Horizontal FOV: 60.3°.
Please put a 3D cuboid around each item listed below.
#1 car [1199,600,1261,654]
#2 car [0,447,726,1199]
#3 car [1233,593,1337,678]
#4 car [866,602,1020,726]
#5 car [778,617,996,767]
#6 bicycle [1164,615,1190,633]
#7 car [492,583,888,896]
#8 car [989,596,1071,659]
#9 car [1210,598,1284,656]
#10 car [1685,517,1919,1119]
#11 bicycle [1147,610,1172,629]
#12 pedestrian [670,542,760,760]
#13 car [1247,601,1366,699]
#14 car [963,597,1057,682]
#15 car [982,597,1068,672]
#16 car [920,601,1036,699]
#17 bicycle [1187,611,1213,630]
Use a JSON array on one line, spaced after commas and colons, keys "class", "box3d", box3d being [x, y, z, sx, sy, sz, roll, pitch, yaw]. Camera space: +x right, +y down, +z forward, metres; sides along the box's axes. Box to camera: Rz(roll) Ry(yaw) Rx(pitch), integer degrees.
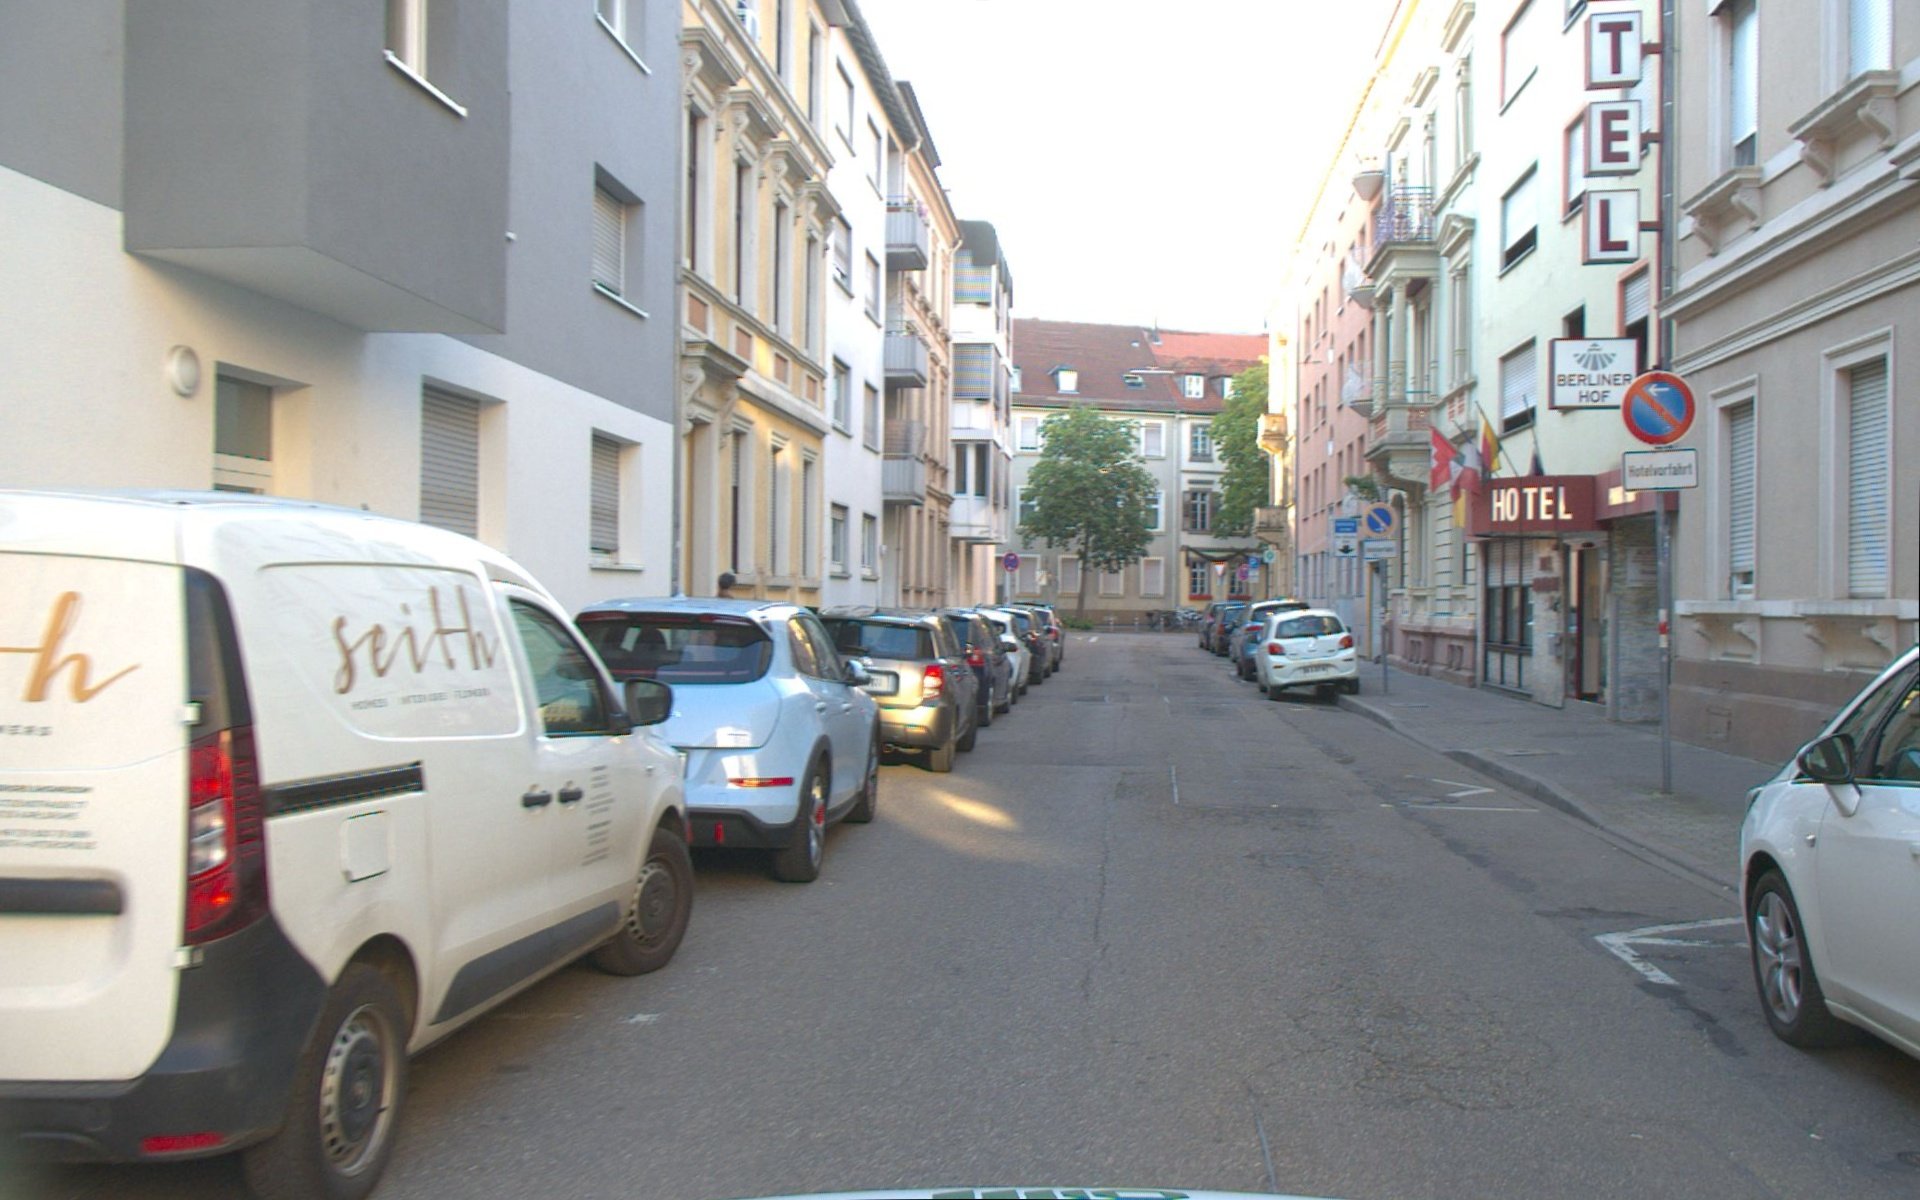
[{"class": "car", "box3d": [9.268, 0.894, 57.042, 1.951, 1.792, 4.003, 0, 0, 7]}, {"class": "car", "box3d": [-2.071, 0.586, 5.595, 1.596, 1.845, 4.188, 0, 0, 5]}, {"class": "car", "box3d": [7.076, 0.741, 36.377, 1.951, 1.762, 4.062, 0, 0, 7]}, {"class": "car", "box3d": [-0.148, 0.812, 23.019, 1.691, 1.535, 3.833, 0, 0, 6]}, {"class": "car", "box3d": [-0.628, 0.863, 17.196, 1.648, 1.355, 4.134, 0, -1, 6]}, {"class": "bicycle", "box3d": [11.458, 1.272, 87.387, 0.512, 0.910, 1.711, 0, 1, -26]}, {"class": "car", "box3d": [-1.505, 0.704, 10.813, 1.727, 1.591, 4.368, 0, 1, 2]}, {"class": "car", "box3d": [2.000, 0.744, 46.327, 1.951, 1.692, 3.980, 0, 0, 7]}, {"class": "car", "box3d": [8.957, 0.810, 51.851, 1.951, 1.738, 4.002, 0, 0, 5]}, {"class": "car", "box3d": [3.671, 0.640, 4.603, 1.778, 1.754, 4.465, 0, 0, 6]}, {"class": "bicycle", "box3d": [10.707, 1.047, 88.936, 0.512, 0.965, 1.710, 1, 0, -26]}, {"class": "pedestrian", "box3d": [-2.358, 0.481, 15.986, 0.782, 2.049, 0.775, 0, 0, -4]}, {"class": "car", "box3d": [6.208, 0.854, 29.961, 1.627, 1.484, 3.762, -6, 0, 6]}, {"class": "car", "box3d": [1.087, 0.763, 34.033, 1.580, 1.598, 4.306, 0, 0, 6]}, {"class": "car", "box3d": [1.609, 0.788, 40.100, 1.952, 1.695, 4.411, 0, 0, 3]}, {"class": "car", "box3d": [0.365, 0.793, 28.023, 1.595, 1.498, 3.757, 0, 0, 6]}, {"class": "bicycle", "box3d": [12.747, 1.070, 87.875, 0.512, 0.965, 1.710, 0, 0, -26]}]
